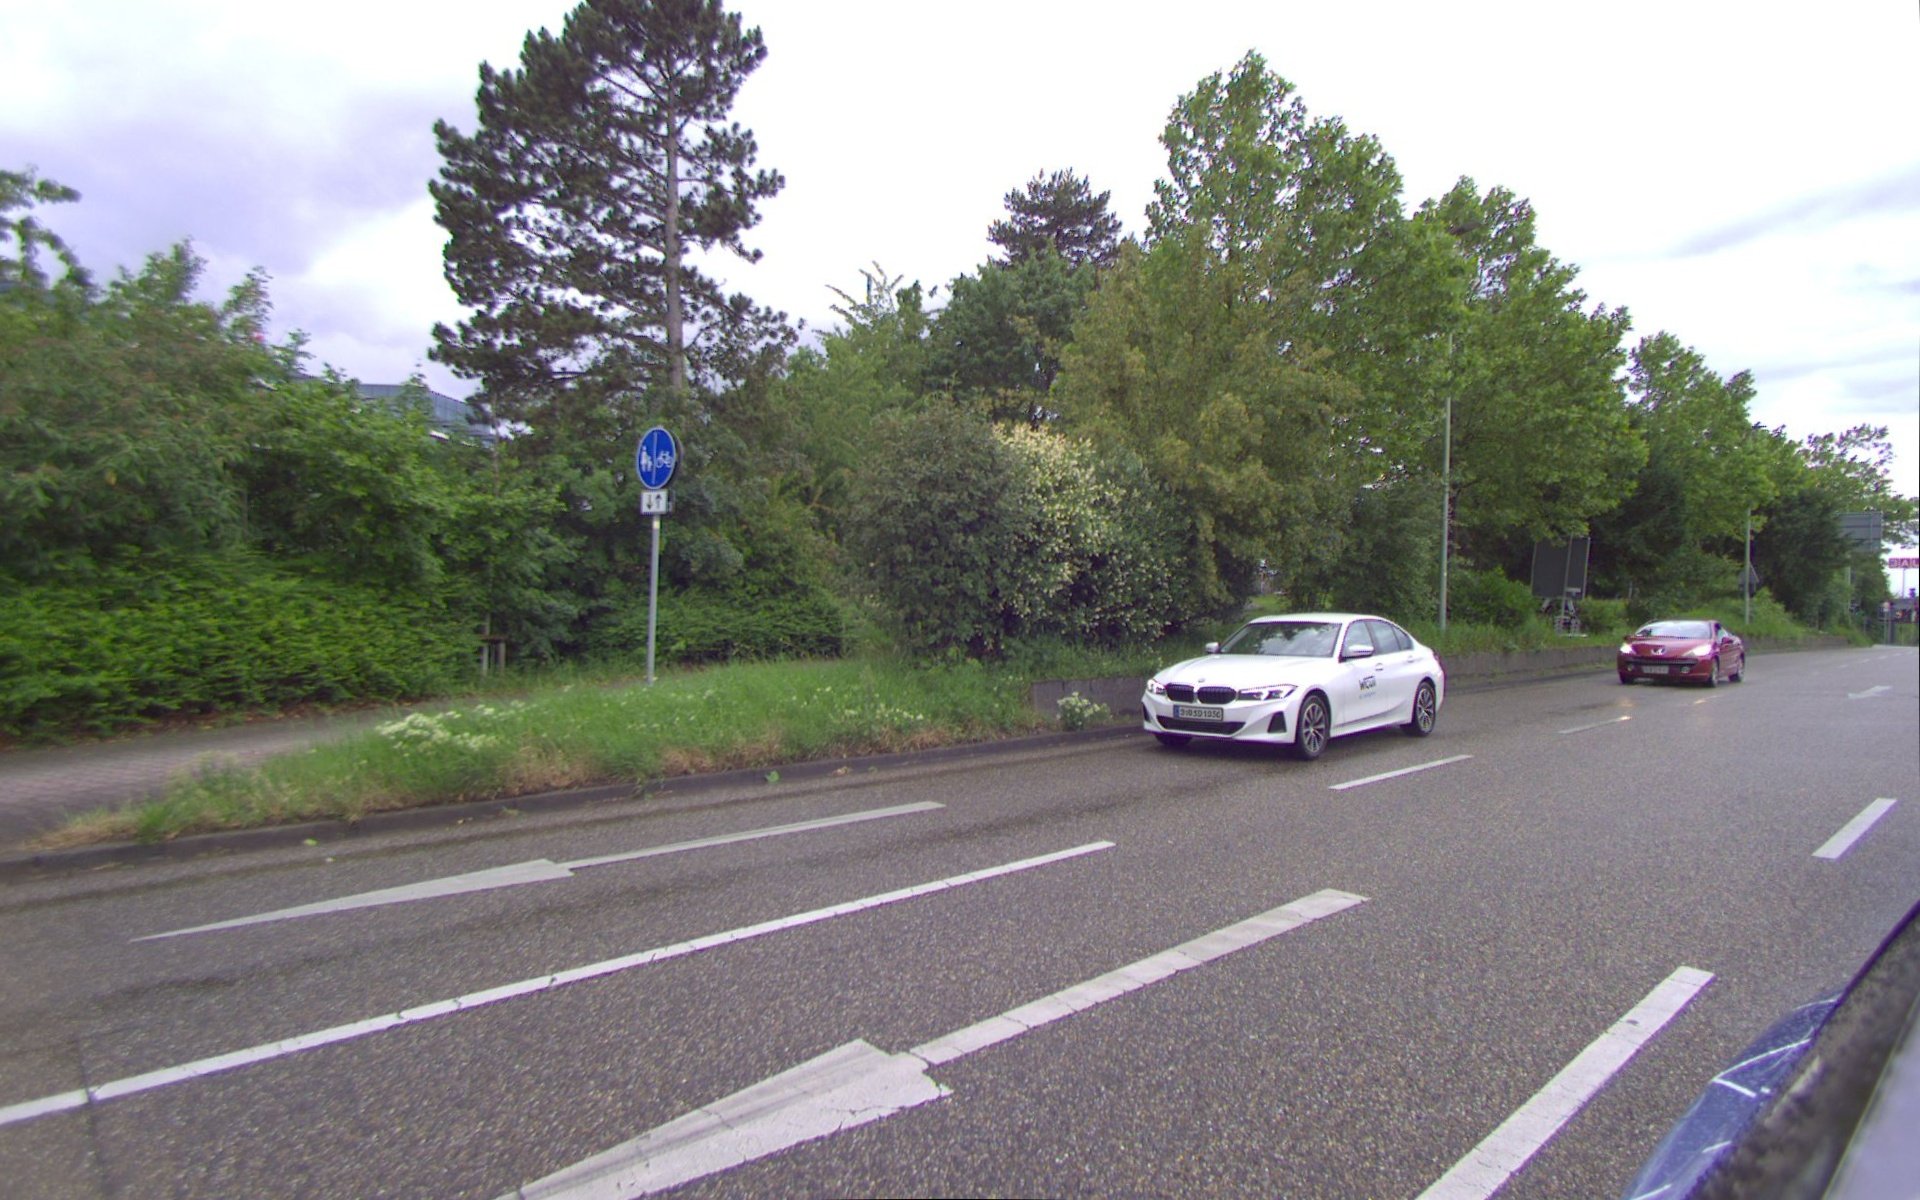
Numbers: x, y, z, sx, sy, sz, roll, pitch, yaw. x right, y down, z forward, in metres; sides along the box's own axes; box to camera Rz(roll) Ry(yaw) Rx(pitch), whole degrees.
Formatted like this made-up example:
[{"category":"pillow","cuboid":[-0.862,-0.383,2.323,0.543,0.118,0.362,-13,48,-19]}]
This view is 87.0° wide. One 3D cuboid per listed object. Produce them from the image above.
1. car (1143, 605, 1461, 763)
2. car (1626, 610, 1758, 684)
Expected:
[{"category":"car","cuboid":[4.031,0.796,11.537,4.233,1.445,1.666,0,0,-44]},{"category":"car","cuboid":[15.782,0.937,21.763,3.627,1.421,1.627,0,0,-43]}]
